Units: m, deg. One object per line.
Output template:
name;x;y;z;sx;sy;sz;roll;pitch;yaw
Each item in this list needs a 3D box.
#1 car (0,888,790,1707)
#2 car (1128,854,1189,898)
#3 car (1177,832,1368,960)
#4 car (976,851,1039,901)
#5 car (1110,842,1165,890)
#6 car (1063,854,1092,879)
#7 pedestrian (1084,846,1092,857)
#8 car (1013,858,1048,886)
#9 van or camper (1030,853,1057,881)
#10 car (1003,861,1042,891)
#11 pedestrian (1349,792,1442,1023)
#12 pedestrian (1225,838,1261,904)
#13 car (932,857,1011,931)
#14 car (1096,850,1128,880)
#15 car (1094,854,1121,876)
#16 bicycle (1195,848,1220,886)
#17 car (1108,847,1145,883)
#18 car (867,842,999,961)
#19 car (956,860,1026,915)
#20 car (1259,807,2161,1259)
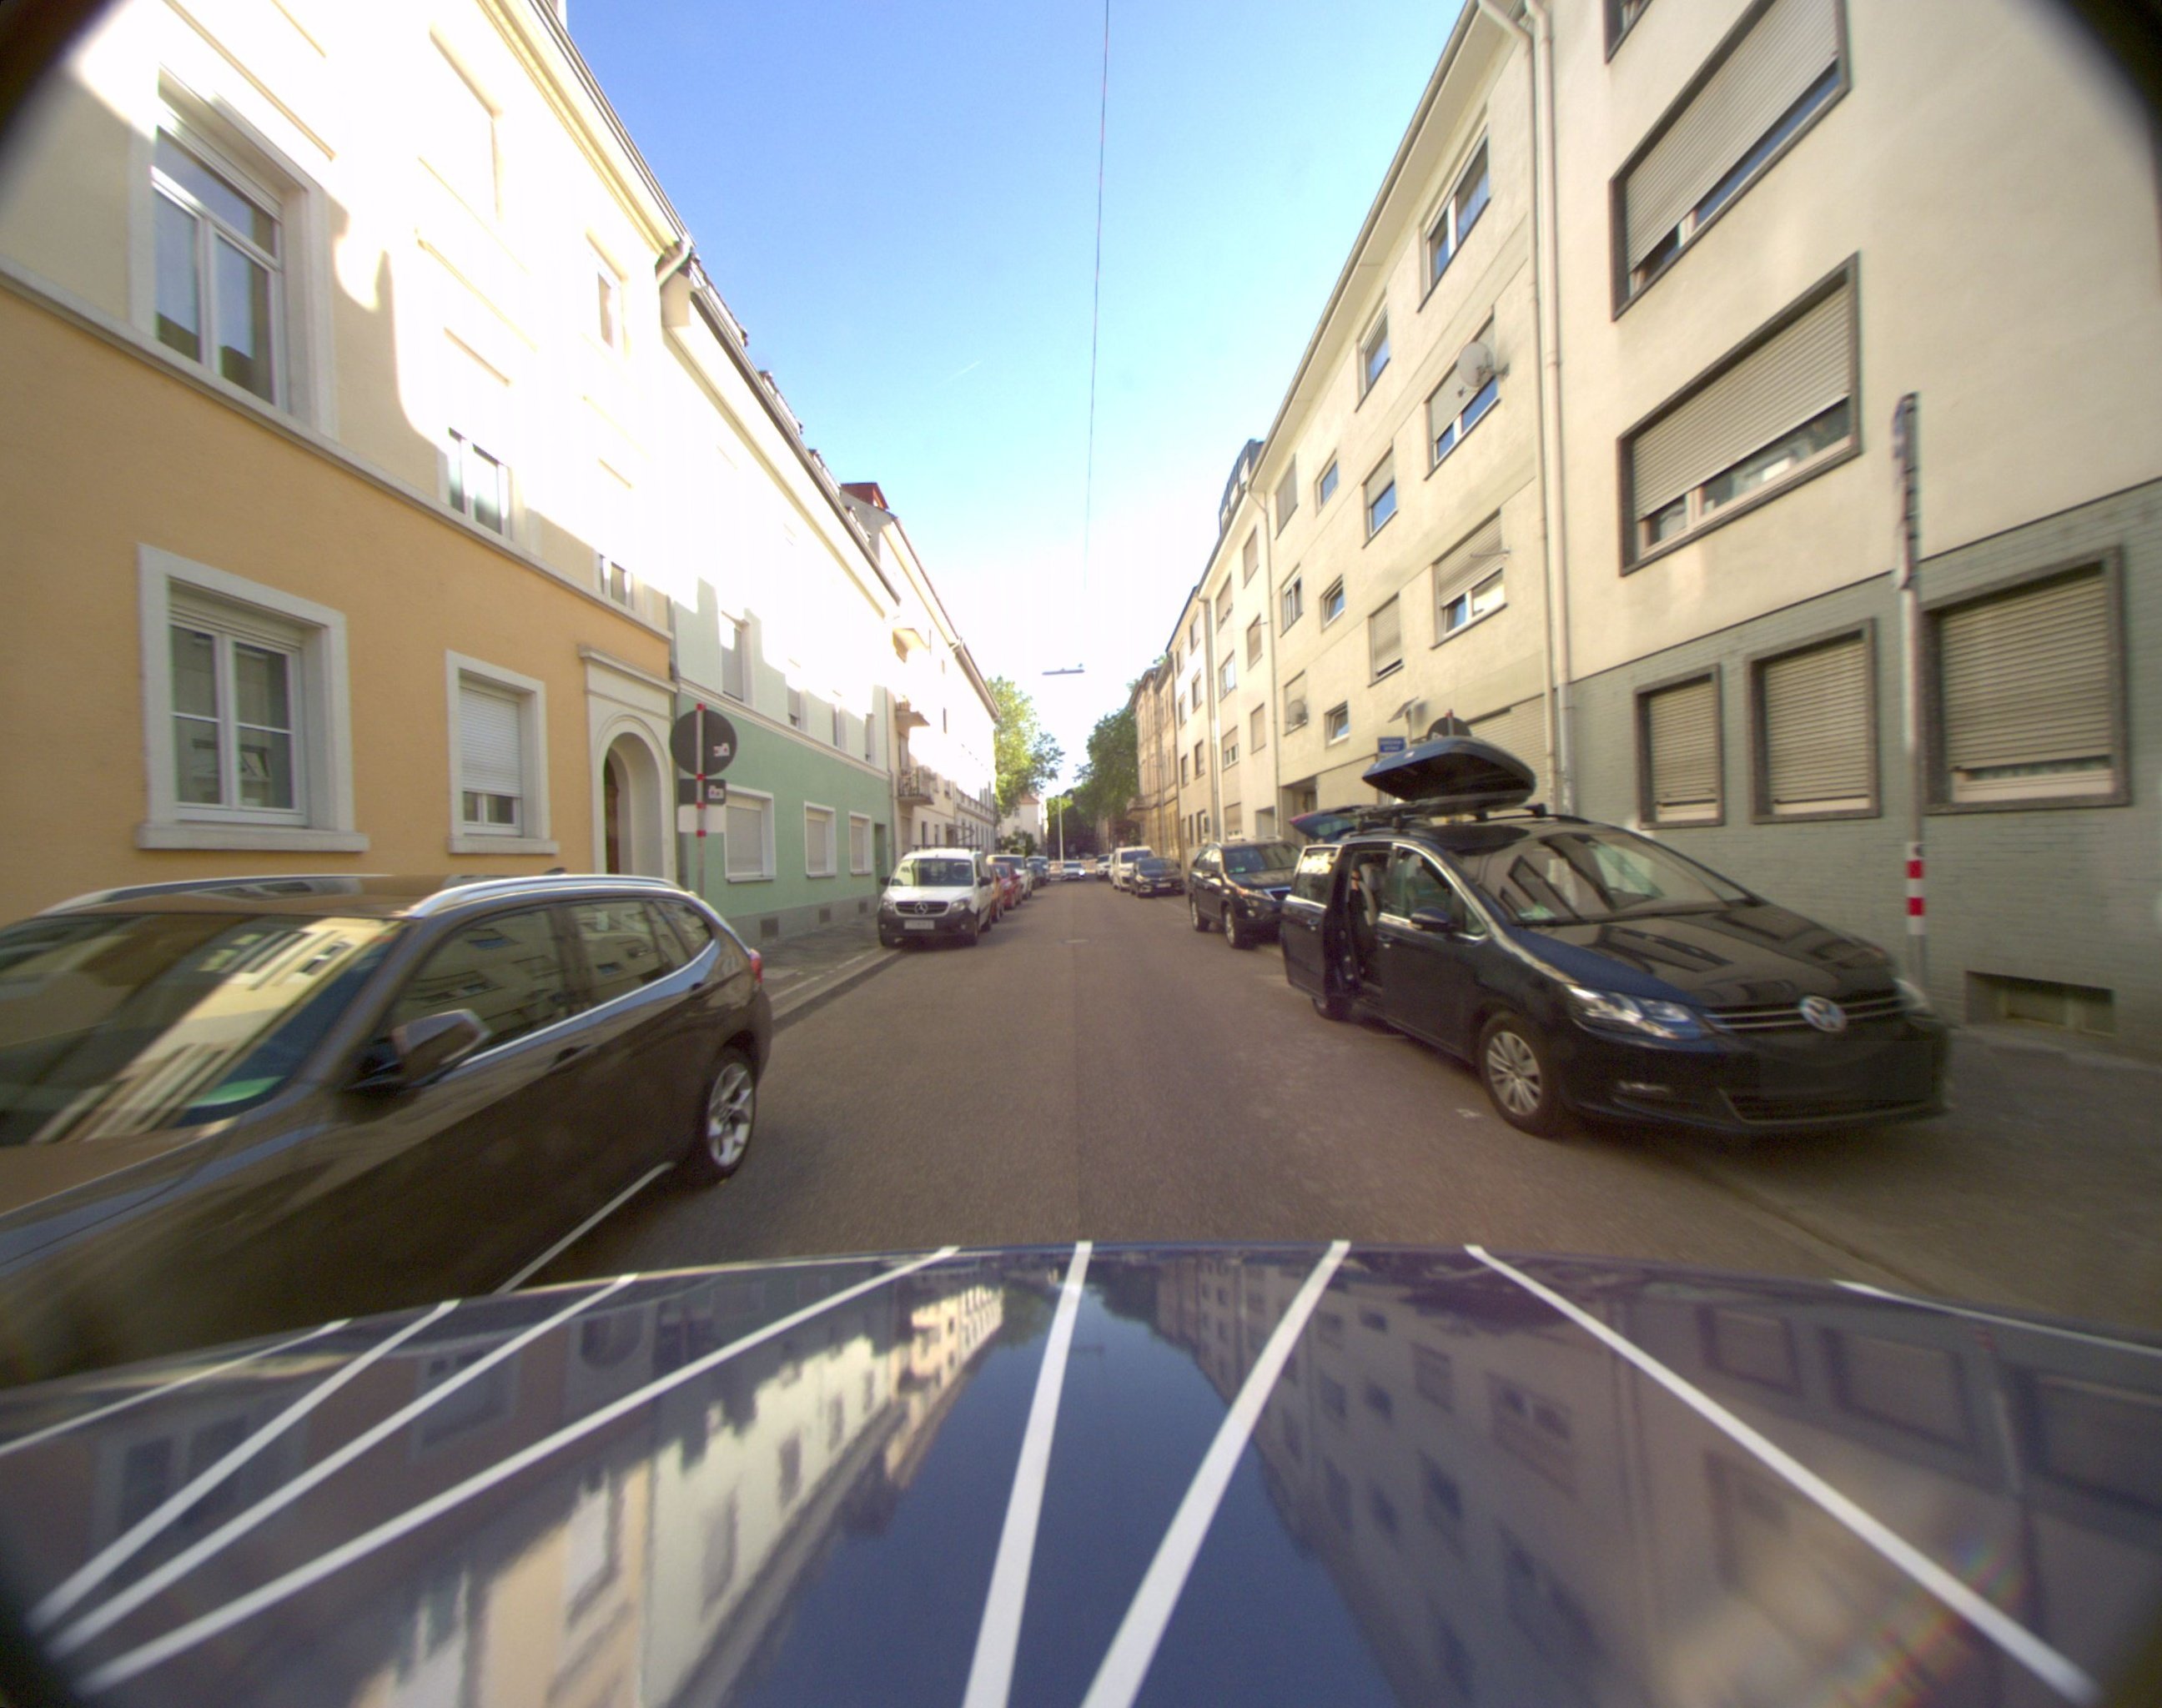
car;-2.575;0.996;2.204;1.744;1.568;4.377;-2;0;-1
car;2.860;0.775;29.041;1.711;1.442;4.301;-3;0;-2
car;3.159;0.641;13.645;1.885;1.745;4.541;-5;0;-4
car;-2.872;0.848;30.667;2.010;1.773;4.938;-2;0;-1
car;2.545;0.541;35.307;1.899;1.947;4.780;-4;0;-2
car;-0.270;0.921;57.007;2.010;1.694;4.503;-2;0;-1
pedestrian;1.096;-0.351;118.876;0.761;1.651;0.826;-2;0;-28
car;-3.060;1.084;46.945;1.819;1.510;4.727;-4;0;-1
van or camper;-2.822;0.955;58.429;1.899;2.002;5.030;-2;0;-2
car;-3.140;1.140;41.264;1.751;1.440;3.869;-4;0;-1
pedestrian;3.165;0.512;7.685;0.620;2.216;0.688;-2;2;0
pedestrian;4.914;0.518;23.118;0.808;1.923;0.690;-4;1;0
car;-2.749;0.954;19.761;1.585;1.622;3.681;-4;0;-3
car;2.225;0.730;54.906;2.027;2.002;4.542;-2;0;0
car;2.140;0.848;62.056;1.872;1.552;3.941;-4;1;-2
bicycle;5.299;0.539;31.981;0.558;1.500;1.799;-4;1;-4
car;2.621;0.620;44.493;1.749;1.865;4.090;-6;0;-1
car;-2.752;0.789;15.106;1.787;1.950;4.335;-2;1;-1
car;-2.812;1.007;24.550;1.747;1.559;4.032;-2;0;-1
car;3.207;0.710;5.662;2.447;1.696;5.241;-3;0;0
